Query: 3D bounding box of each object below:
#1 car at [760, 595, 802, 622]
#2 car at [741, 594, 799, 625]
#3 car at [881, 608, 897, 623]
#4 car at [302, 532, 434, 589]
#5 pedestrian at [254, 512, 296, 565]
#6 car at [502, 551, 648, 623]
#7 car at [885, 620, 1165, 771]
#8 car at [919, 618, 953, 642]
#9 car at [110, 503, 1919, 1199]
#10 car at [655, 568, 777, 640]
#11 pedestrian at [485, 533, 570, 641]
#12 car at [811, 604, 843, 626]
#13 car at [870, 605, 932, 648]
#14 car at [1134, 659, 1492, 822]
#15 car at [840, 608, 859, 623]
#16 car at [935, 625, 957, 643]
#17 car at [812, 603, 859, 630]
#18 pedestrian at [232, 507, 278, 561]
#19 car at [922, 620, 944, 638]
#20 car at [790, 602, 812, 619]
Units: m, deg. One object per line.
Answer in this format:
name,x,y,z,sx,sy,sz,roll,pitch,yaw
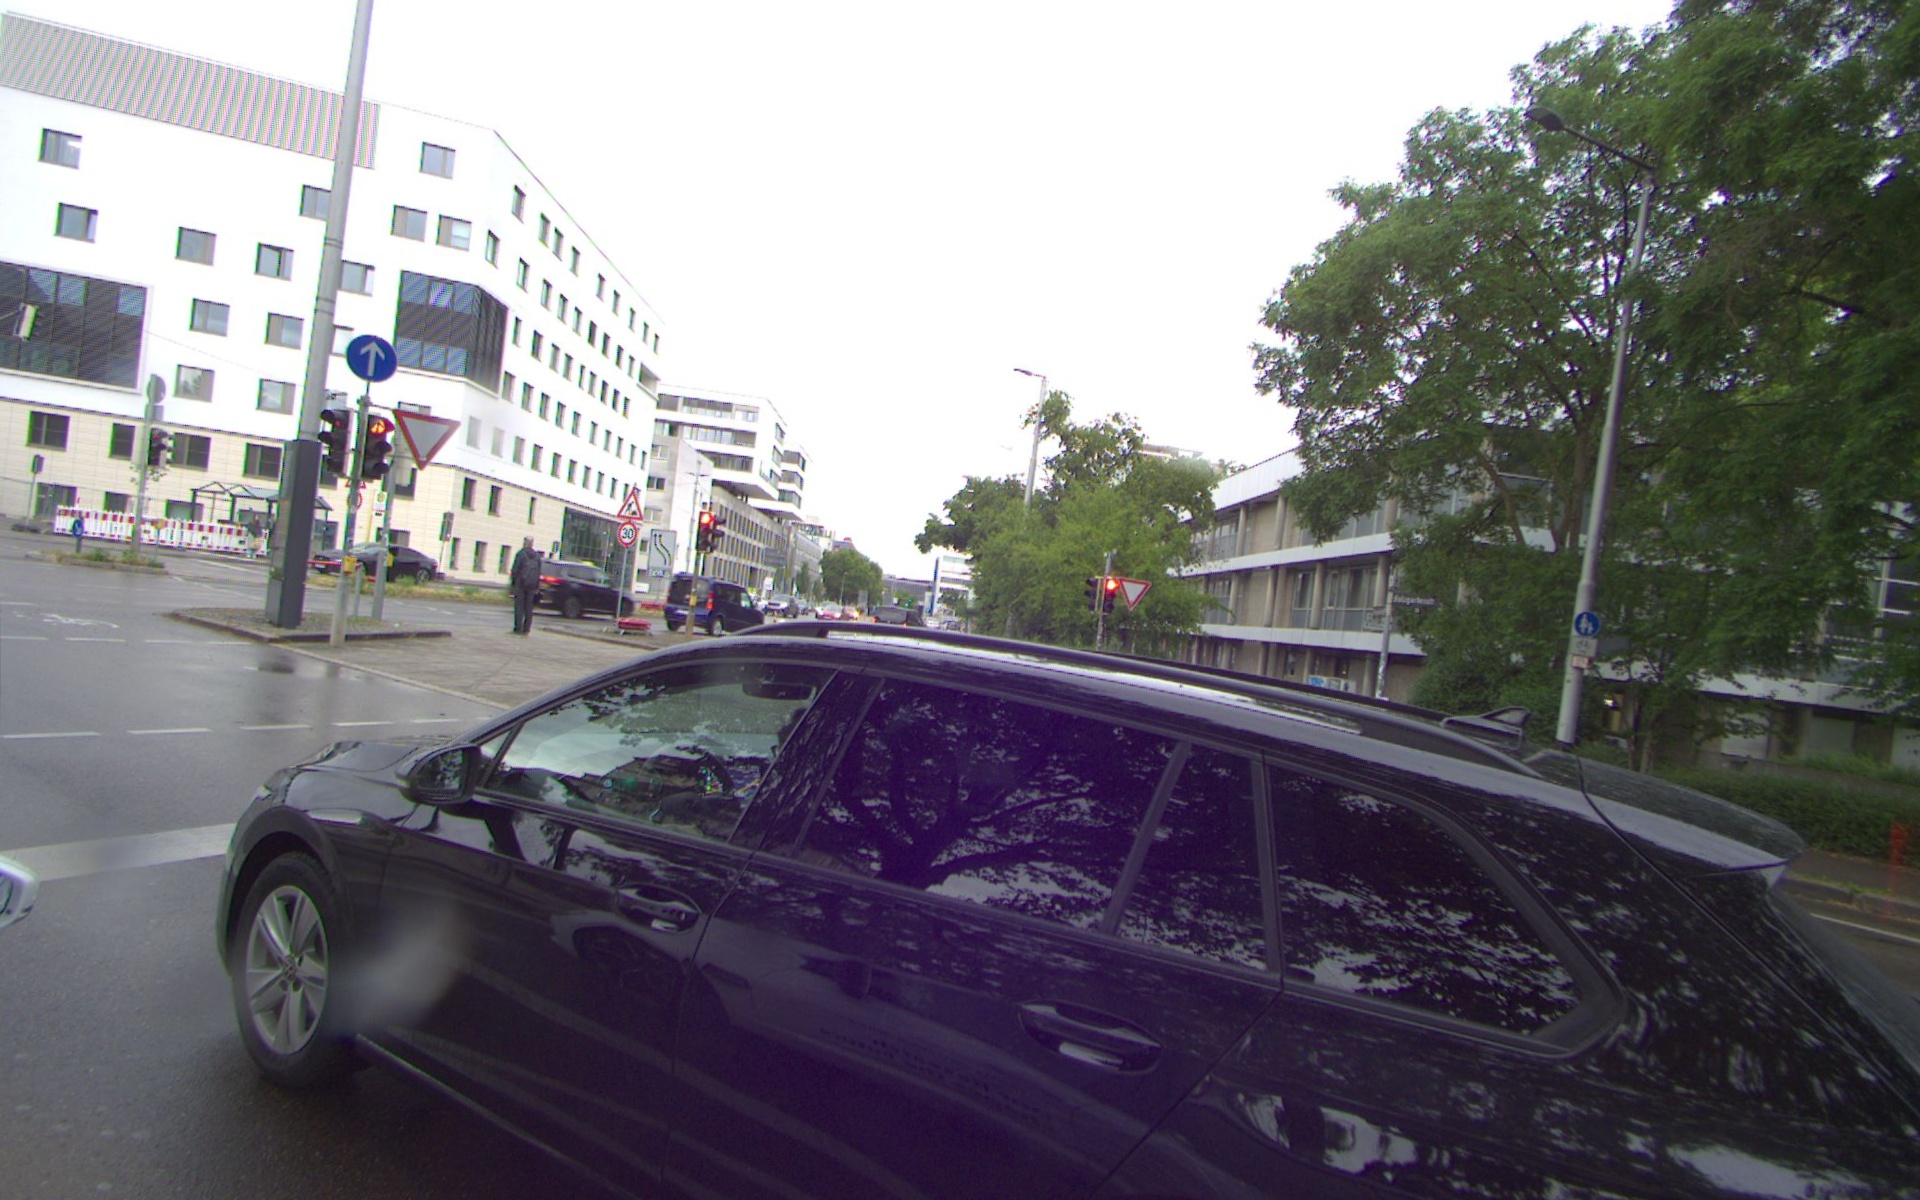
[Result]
car,-13.631,0.659,76.767,1.962,1.684,4.390,8,-1,4
car,-11.976,0.611,63.623,1.764,1.460,4.006,8,-3,17
car,-9.530,2.094,135.130,1.835,1.669,4.777,7,-3,-6
car,-22.229,-1.436,37.954,1.764,1.460,4.006,8,-3,17
pedestrian,-27.641,-2.484,40.610,0.941,1.957,1.001,5,-2,41
car,-11.765,-0.316,31.150,1.763,1.726,4.692,8,-1,12
car,0.775,1.284,14.406,1.851,1.467,3.964,9,-1,-34
car,-1.946,2.424,82.446,1.962,1.693,4.973,7,-1,6
car,-0.242,0.773,2.708,4.436,1.483,1.673,8,-1,31
car,-7.988,0.199,33.419,1.764,1.930,4.312,8,-1,17
pedestrian,-8.320,-0.248,19.386,1.009,1.913,0.830,6,-2,23
car,-12.096,1.348,91.624,1.930,1.554,4.165,8,-2,5
car,-2.983,1.345,52.089,1.962,1.831,4.788,8,0,9
car,4.779,1.884,14.218,1.853,1.467,4.359,9,-2,-37
car,-12.734,1.808,115.776,1.933,1.466,4.158,8,-2,-5
car,-1.358,3.205,94.659,1.834,1.437,4.003,7,-3,-1
car,-9.730,1.359,79.071,1.930,1.574,4.536,8,-3,16
pedestrian,-26.784,-2.501,38.248,0.808,1.861,0.955,6,-2,20
car,-3.008,3.179,110.136,1.836,1.669,4.776,7,-3,-7
car,-15.883,1.036,100.457,1.966,1.394,4.382,8,-1,-8
